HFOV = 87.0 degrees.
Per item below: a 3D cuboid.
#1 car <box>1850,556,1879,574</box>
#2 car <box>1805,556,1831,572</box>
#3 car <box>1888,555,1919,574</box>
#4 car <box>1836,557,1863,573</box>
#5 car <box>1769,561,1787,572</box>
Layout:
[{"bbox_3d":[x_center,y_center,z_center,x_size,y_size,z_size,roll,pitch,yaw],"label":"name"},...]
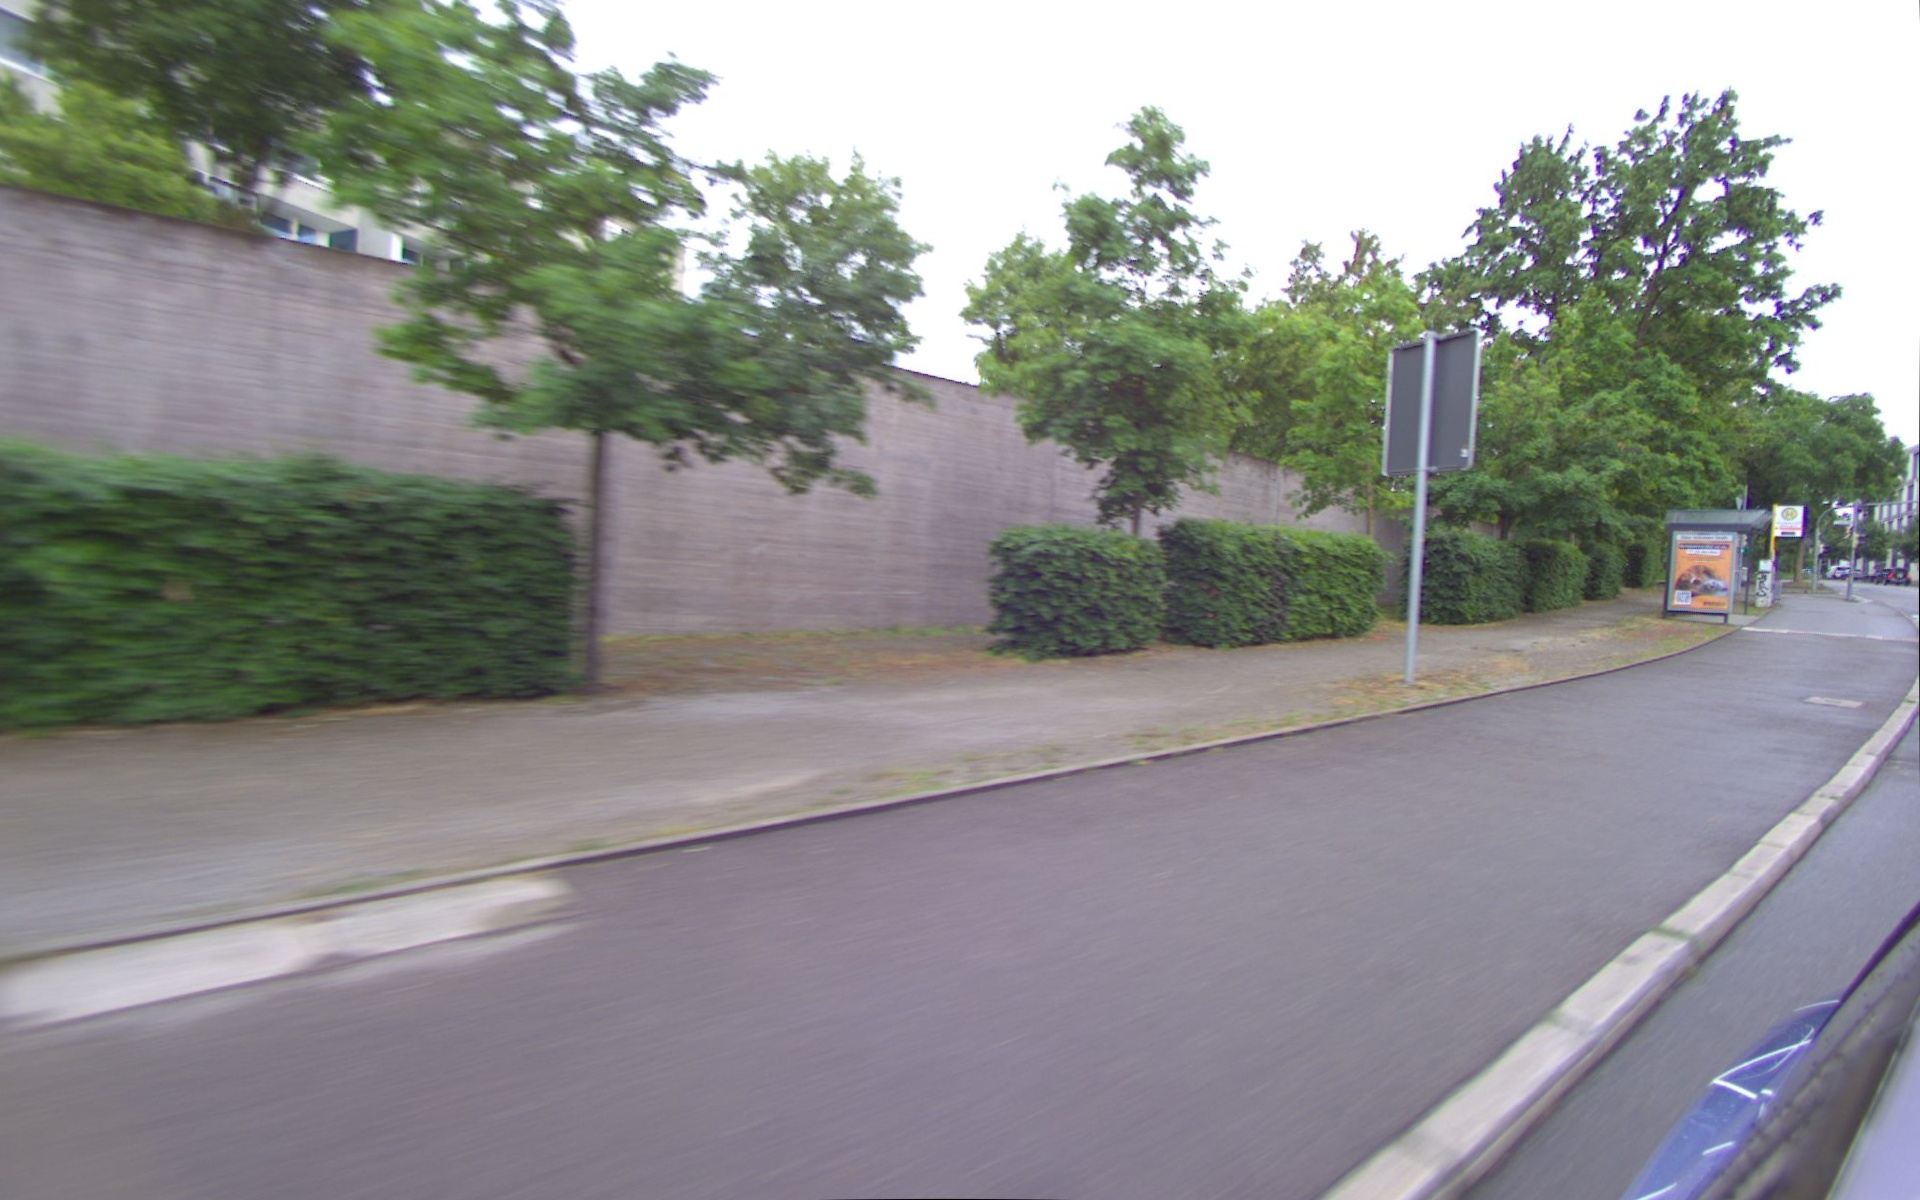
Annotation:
[{"bbox_3d":[114.083,-4.422,127.634,1.910,2.039,4.337,2,1,31],"label":"car"},{"bbox_3d":[116.128,-4.865,137.018,1.986,2.038,3.955,4,4,32],"label":"car"},{"bbox_3d":[97.491,-3.613,104.272,1.952,1.861,4.399,4,4,32],"label":"car"},{"bbox_3d":[117.037,-4.607,133.231,1.910,2.039,4.337,2,1,31],"label":"car"},{"bbox_3d":[145.719,-5.988,180.302,1.987,1.771,3.952,3,3,34],"label":"car"}]
